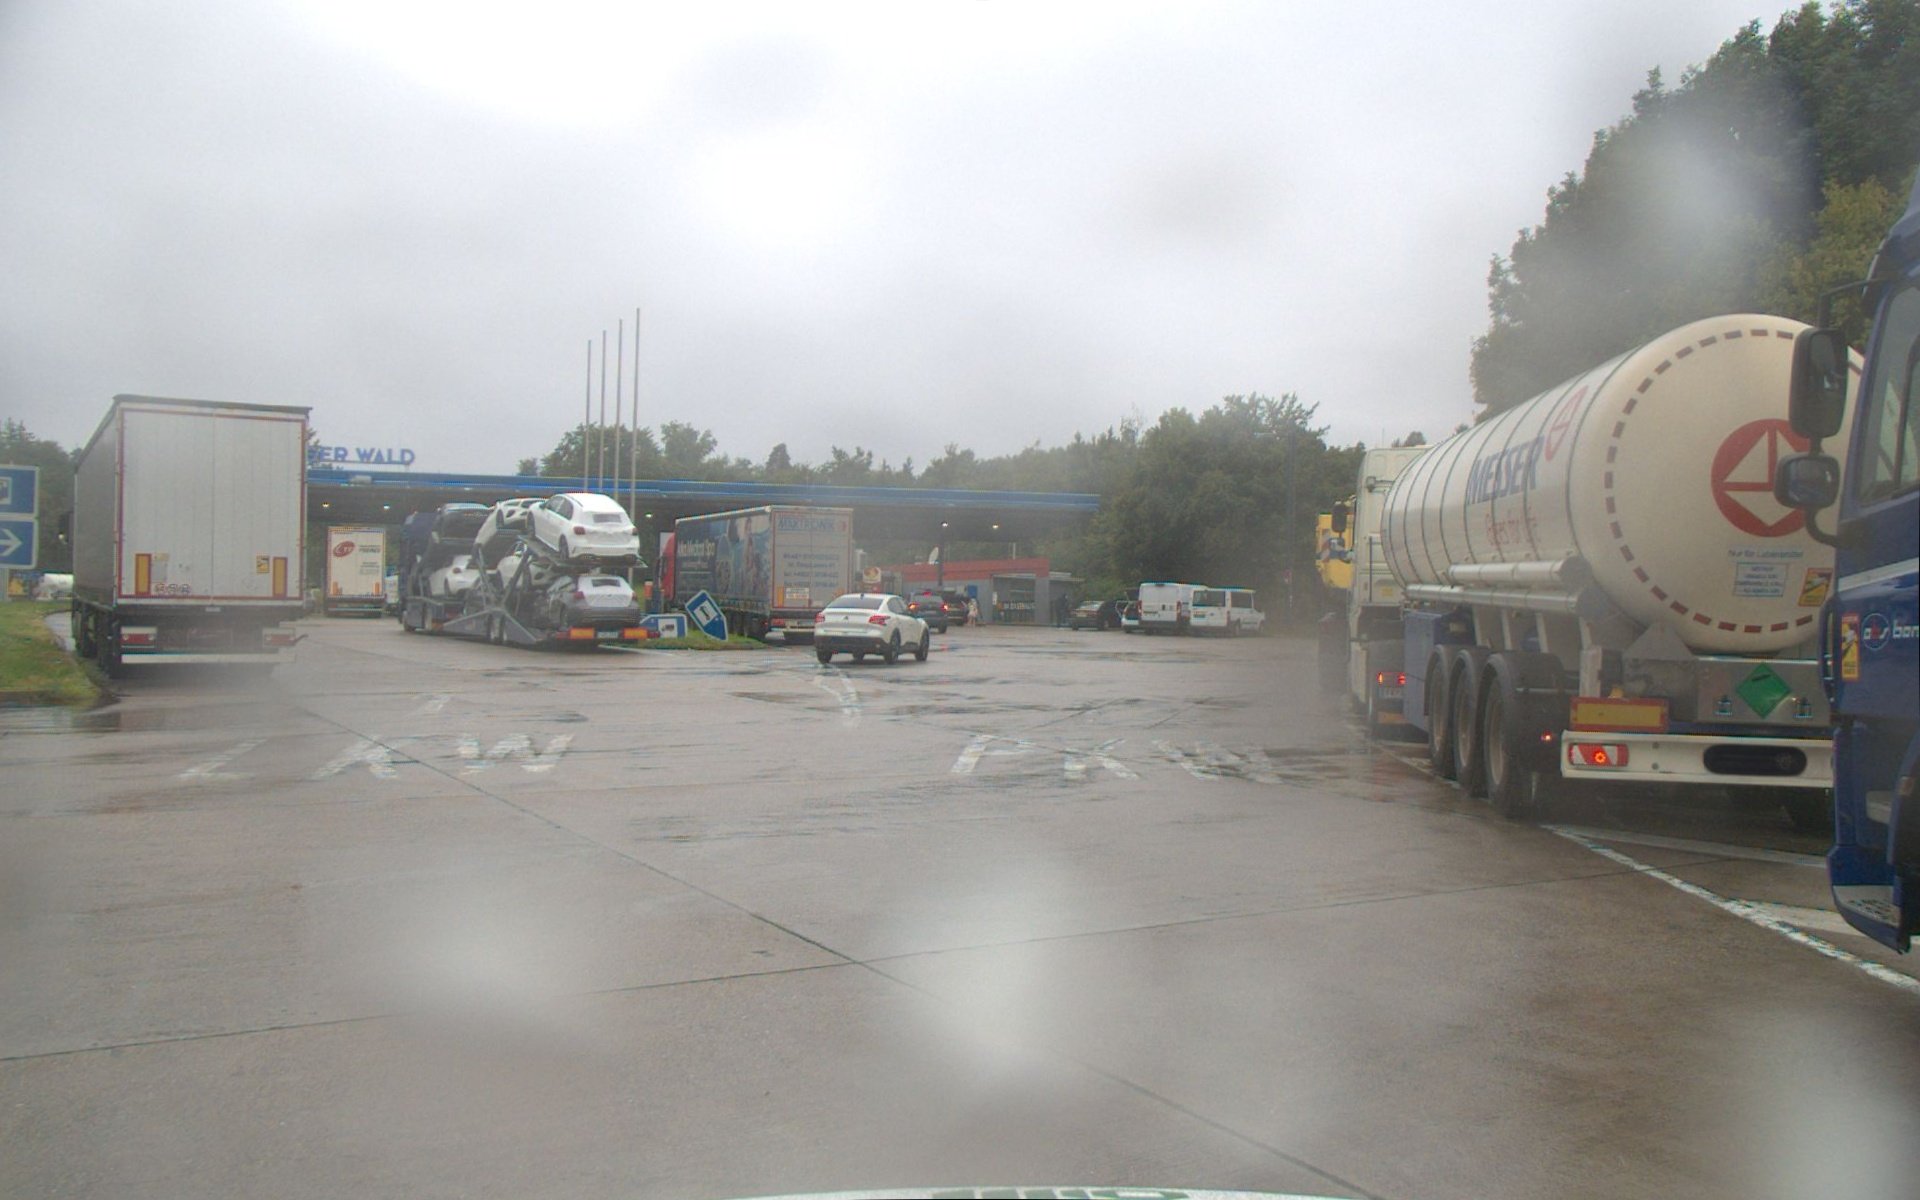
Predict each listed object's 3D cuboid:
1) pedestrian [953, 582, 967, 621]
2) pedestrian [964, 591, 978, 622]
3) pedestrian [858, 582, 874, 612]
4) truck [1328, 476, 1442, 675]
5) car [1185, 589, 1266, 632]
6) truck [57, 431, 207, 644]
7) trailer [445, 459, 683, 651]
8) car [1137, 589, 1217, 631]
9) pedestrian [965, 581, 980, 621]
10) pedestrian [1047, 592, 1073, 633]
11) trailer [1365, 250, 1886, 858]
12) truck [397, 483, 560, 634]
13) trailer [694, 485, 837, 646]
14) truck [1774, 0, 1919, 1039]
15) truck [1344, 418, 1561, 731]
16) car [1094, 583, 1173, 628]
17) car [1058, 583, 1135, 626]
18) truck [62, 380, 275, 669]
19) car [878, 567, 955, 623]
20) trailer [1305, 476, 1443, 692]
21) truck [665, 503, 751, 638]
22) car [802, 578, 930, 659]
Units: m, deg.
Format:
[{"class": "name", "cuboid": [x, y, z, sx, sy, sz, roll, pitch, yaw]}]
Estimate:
[{"class": "pedestrian", "cuboid": [-0.004, 0.069, 89.172, 0.575, 2.049, 0.637, 3, -3, -6]}, {"class": "pedestrian", "cuboid": [0.559, 0.320, 84.715, 0.597, 1.566, 0.593, 1, -2, -10]}, {"class": "pedestrian", "cuboid": [-5.095, -0.159, 89.881, 0.703, 1.548, 0.743, 3, -3, 3]}, {"class": "truck", "cuboid": [8.956, -0.486, 34.650, 2.135, 3.895, 4.144, 1, 0, 16]}, {"class": "car", "cuboid": [11.217, 0.427, 69.666, 2.074, 1.758, 3.992, 1, 0, 30]}, {"class": "truck", "cuboid": [-17.221, -1.193, 34.170, 2.346, 3.942, 6.940, 0, 0, -30]}, {"class": "trailer", "cuboid": [-10.594, -1.071, 42.977, 3.179, 4.262, 11.423, 2, 0, -28]}, {"class": "car", "cuboid": [9.466, 0.411, 71.795, 2.074, 1.758, 3.992, 1, 0, 30]}, {"class": "pedestrian", "cuboid": [0.683, 0.070, 88.015, 0.655, 2.049, 0.743, 3, -3, 3]}, {"class": "pedestrian", "cuboid": [4.800, 0.587, 79.590, 0.934, 1.953, 1.088, 1, 0, 22]}, {"class": "trailer", "cuboid": [5.114, -0.276, 14.751, 2.085, 3.501, 10.261, 1, 0, 9]}, {"class": "truck", "cuboid": [-15.206, -1.248, 51.738, 3.197, 4.262, 8.366, 2, 0, -28]}, {"class": "trailer", "cuboid": [-6.414, -0.995, 52.953, 1.966, 4.639, 9.742, 1, -1, -22]}, {"class": "truck", "cuboid": [4.297, -0.293, 4.250, 2.011, 3.593, 4.745, 1, 0, 0]}, {"class": "truck", "cuboid": [6.205, -0.301, 21.363, 2.100, 3.574, 4.650, 1, 0, 10]}, {"class": "car", "cuboid": [7.941, 0.251, 75.505, 2.074, 1.970, 4.183, 1, 0, 30]}, {"class": "car", "cuboid": [6.588, 0.218, 79.389, 2.074, 1.970, 4.183, 1, 0, 30]}, {"class": "truck", "cuboid": [-13.957, -1.107, 28.517, 2.346, 3.942, 12.328, 0, 1, -30]}, {"class": "car", "cuboid": [-1.854, -0.171, 68.552, 1.964, 2.049, 3.976, 4, -3, -20]}, {"class": "trailer", "cuboid": [7.747, -0.271, 30.424, 2.136, 3.451, 7.568, 1, 0, 16]}, {"class": "truck", "cuboid": [-9.135, -0.998, 59.679, 1.960, 4.629, 4.762, 1, -1, -22]}, {"class": "car", "cuboid": [-2.037, 0.365, 37.076, 1.951, 1.708, 4.004, 0, 1, 10]}]
